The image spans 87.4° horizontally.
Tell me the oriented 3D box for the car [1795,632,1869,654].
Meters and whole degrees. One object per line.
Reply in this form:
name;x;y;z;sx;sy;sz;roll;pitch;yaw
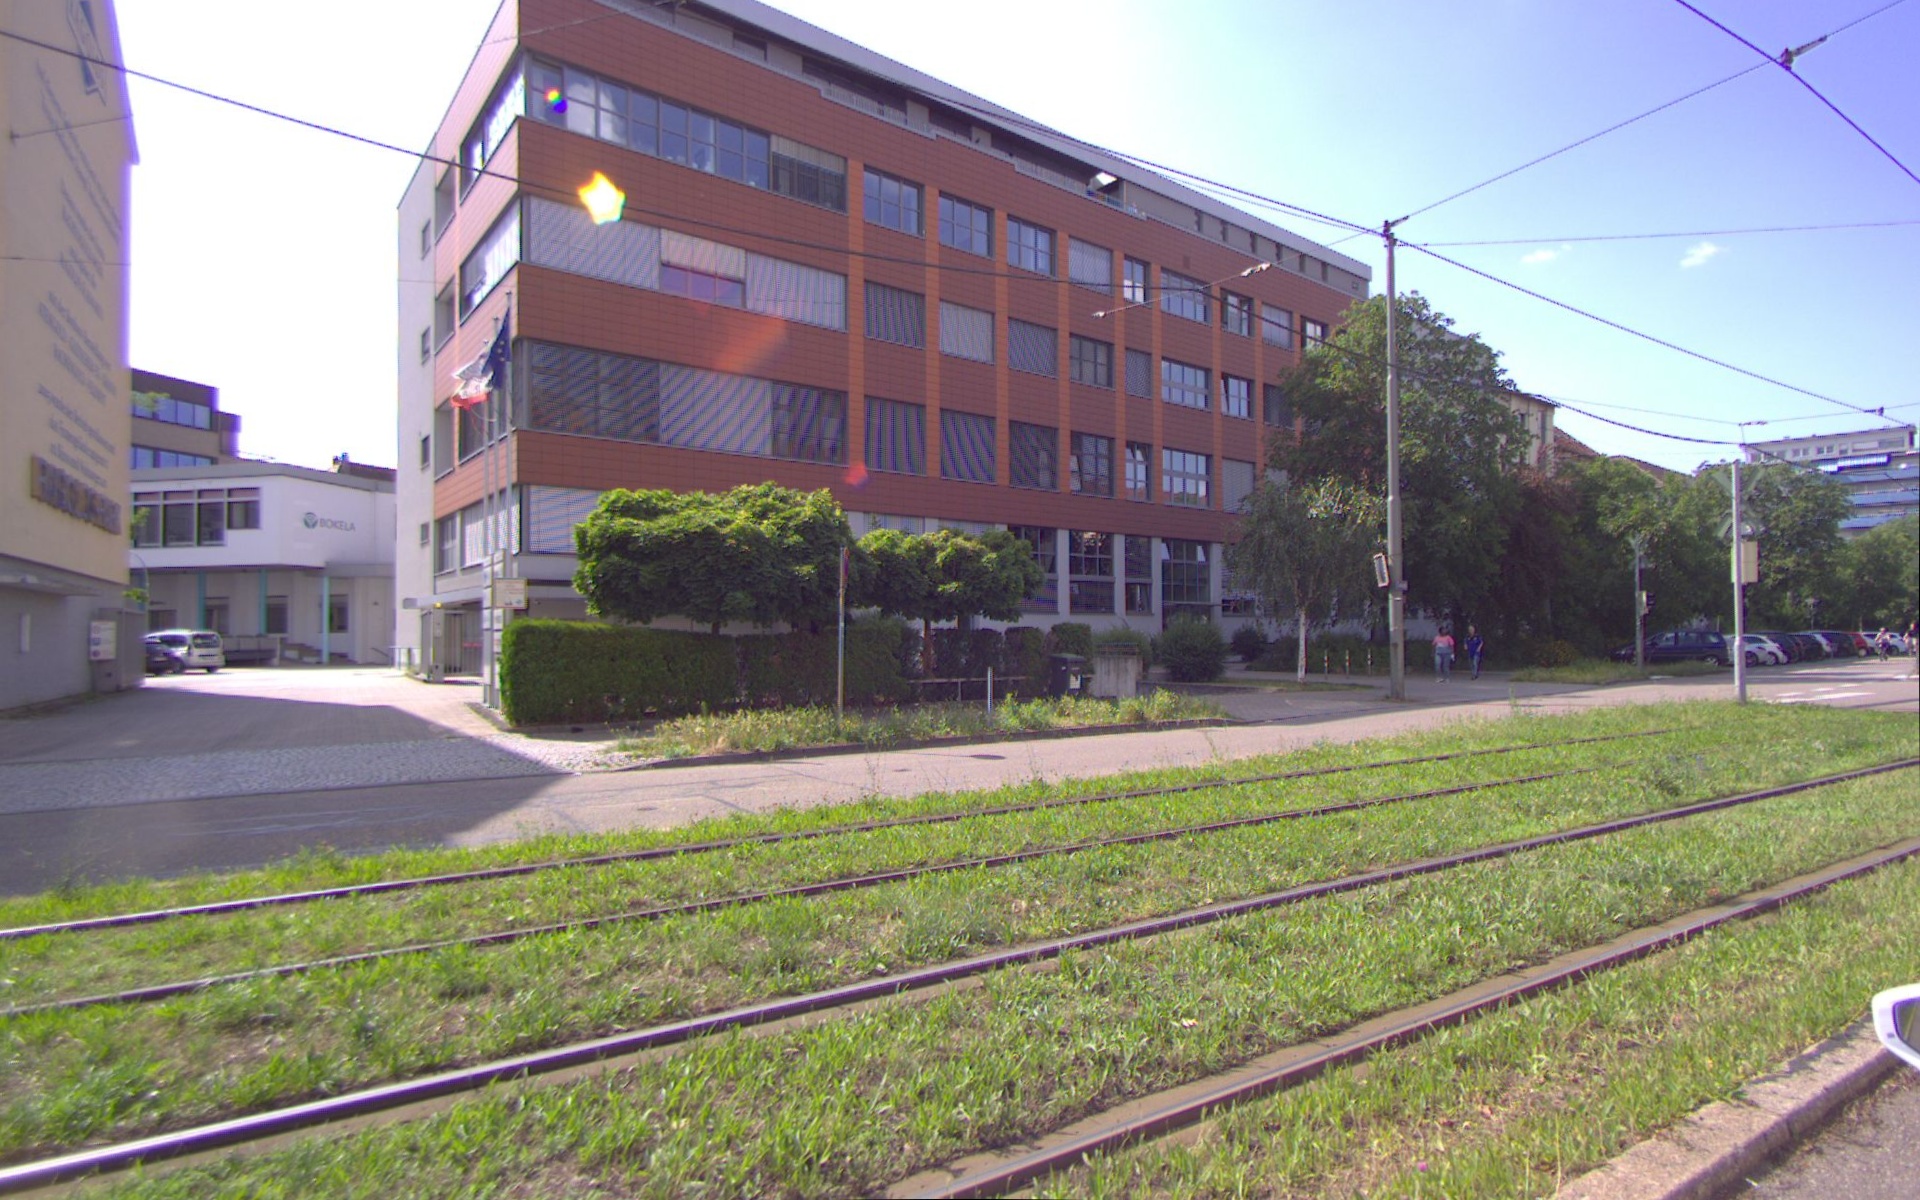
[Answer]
car;54.184;2.646;62.431;3.181;1.326;1.457;-1;-2;7

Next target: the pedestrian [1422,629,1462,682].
pedestrian;14.734;1.699;30.701;0.879;1.594;0.742;2;-3;-29

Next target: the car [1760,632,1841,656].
car;46.969;2.470;56.192;3.181;1.326;1.457;-1;-2;7

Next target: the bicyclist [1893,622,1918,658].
bicyclist;54.765;2.316;58.164;0.938;2.040;1.566;-4;-4;44

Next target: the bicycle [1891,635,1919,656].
bicycle;54.779;2.646;58.179;1.776;1.193;1.143;2;-4;-44

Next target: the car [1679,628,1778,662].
car;36.018;2.124;47.173;3.321;1.525;1.545;-1;-2;15

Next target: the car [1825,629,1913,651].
car;59.854;2.659;66.165;3.919;1.385;1.718;-2;-3;12

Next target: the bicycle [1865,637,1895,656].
bicycle;48.549;2.449;53.003;2.156;0.983;0.676;1;-3;-34

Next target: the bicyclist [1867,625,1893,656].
bicyclist;48.483;2.152;52.952;0.855;1.602;0.780;1;-3;-34

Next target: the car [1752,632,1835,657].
car;45.140;2.402;54.448;3.181;1.326;1.457;-1;-2;4

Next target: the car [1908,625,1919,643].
car;79.708;2.727;81.408;3.919;1.404;1.640;-1;-2;7

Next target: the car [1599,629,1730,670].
car;29.087;2.054;41.620;4.049;1.662;1.727;-1;-2;13

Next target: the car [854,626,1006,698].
car;-0.833;1.488;24.944;1.980;1.617;3.963;1;-2;-34

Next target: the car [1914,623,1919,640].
car;83.574;2.619;84.807;3.921;1.466;1.729;-1;-2;18

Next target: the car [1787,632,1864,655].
car;51.891;2.594;60.266;3.181;1.326;1.457;-1;-2;7

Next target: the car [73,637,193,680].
car;-34.463;2.437;41.896;3.919;1.717;1.773;-1;-2;12

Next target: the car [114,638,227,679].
car;-34.548;2.568;44.000;3.919;1.717;1.773;-1;-2;12

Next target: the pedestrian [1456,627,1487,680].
pedestrian;16.509;1.718;32.429;0.738;1.678;0.554;1;-2;-29

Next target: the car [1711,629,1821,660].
car;40.422;2.258;50.469;3.919;1.475;1.692;-2;-3;13

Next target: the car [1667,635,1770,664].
car;33.929;2.212;44.994;3.320;1.252;1.545;-1;-2;13
